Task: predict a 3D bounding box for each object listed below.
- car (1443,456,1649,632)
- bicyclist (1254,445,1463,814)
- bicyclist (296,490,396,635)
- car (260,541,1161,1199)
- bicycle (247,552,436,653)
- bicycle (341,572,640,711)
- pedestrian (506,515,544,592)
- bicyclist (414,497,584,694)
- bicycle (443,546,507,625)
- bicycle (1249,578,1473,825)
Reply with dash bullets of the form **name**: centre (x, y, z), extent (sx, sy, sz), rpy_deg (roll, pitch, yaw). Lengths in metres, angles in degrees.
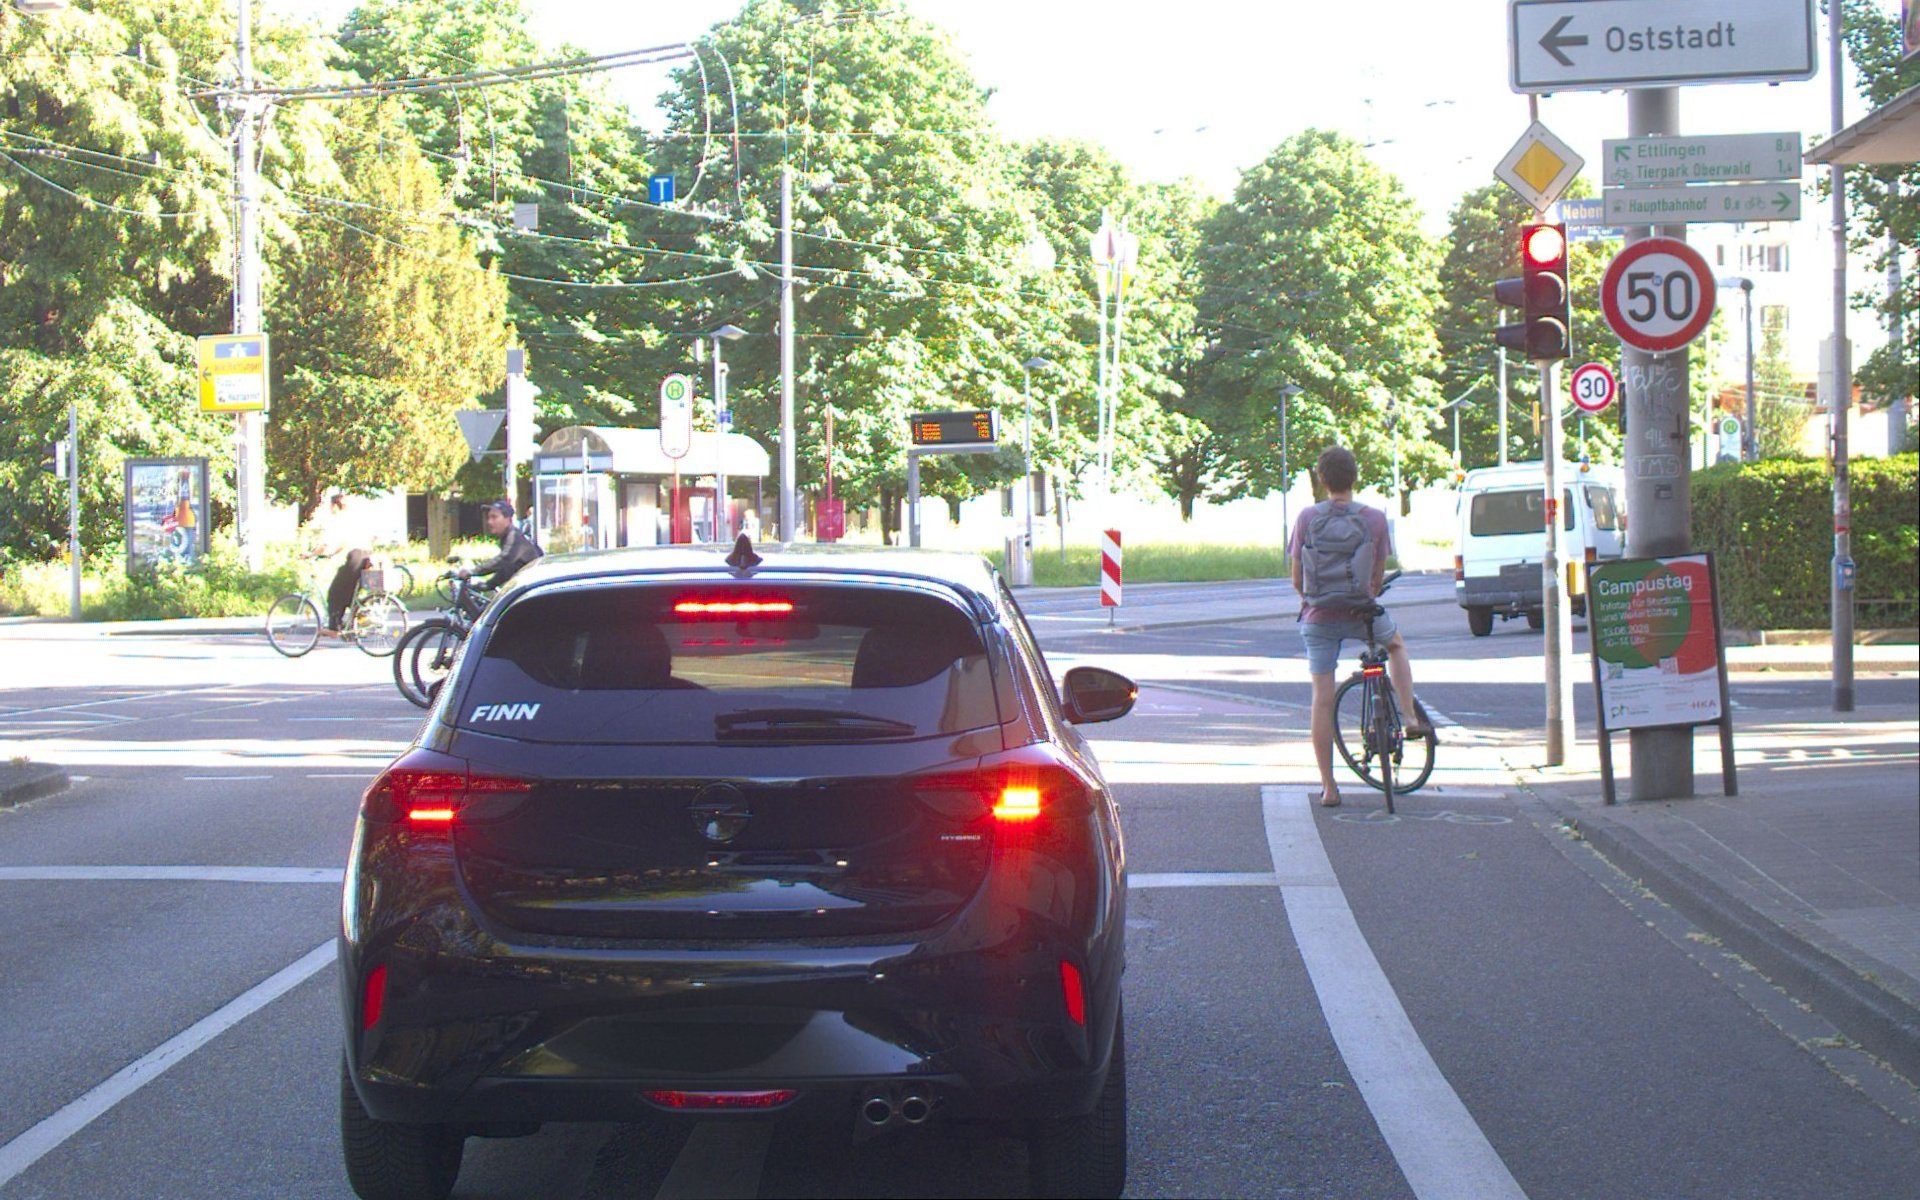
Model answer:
- **car**: centre (7.978, -0.777, 46.463), extent (2.065, 2.241, 4.883), rpy_deg (0, 1, 18)
- **bicyclist**: centre (2.046, 0.139, 17.747), extent (0.941, 1.845, 0.864), rpy_deg (-1, 1, -1)
- **bicyclist**: centre (-6.817, -0.417, 38.165), extent (0.862, 1.589, 0.648), rpy_deg (0, 1, 22)
- **car**: centre (-0.497, 0.577, 8.712), extent (1.727, 1.424, 4.187), rpy_deg (0, 1, 0)
- **bicycle**: centre (-6.879, 0.022, 38.210), extent (2.057, 1.090, 0.592), rpy_deg (0, 1, 22)
- **bicycle**: centre (-3.720, 0.312, 27.248), extent (2.190, 1.029, 0.835), rpy_deg (-1, 1, -23)
- **pedestrian**: centre (-9.274, -0.998, 73.307), extent (0.636, 1.624, 0.572), rpy_deg (1, 0, 7)
- **bicyclist**: centre (-3.660, -0.051, 27.250), extent (1.112, 1.515, 0.922), rpy_deg (-1, 1, -23)
- **bicycle**: centre (-6.547, -0.210, 46.482), extent (0.605, 1.028, 1.982), rpy_deg (-1, 1, -1)
- **bicycle**: centre (2.049, 0.489, 17.850), extent (0.860, 1.149, 2.172), rpy_deg (-1, 1, -1)
